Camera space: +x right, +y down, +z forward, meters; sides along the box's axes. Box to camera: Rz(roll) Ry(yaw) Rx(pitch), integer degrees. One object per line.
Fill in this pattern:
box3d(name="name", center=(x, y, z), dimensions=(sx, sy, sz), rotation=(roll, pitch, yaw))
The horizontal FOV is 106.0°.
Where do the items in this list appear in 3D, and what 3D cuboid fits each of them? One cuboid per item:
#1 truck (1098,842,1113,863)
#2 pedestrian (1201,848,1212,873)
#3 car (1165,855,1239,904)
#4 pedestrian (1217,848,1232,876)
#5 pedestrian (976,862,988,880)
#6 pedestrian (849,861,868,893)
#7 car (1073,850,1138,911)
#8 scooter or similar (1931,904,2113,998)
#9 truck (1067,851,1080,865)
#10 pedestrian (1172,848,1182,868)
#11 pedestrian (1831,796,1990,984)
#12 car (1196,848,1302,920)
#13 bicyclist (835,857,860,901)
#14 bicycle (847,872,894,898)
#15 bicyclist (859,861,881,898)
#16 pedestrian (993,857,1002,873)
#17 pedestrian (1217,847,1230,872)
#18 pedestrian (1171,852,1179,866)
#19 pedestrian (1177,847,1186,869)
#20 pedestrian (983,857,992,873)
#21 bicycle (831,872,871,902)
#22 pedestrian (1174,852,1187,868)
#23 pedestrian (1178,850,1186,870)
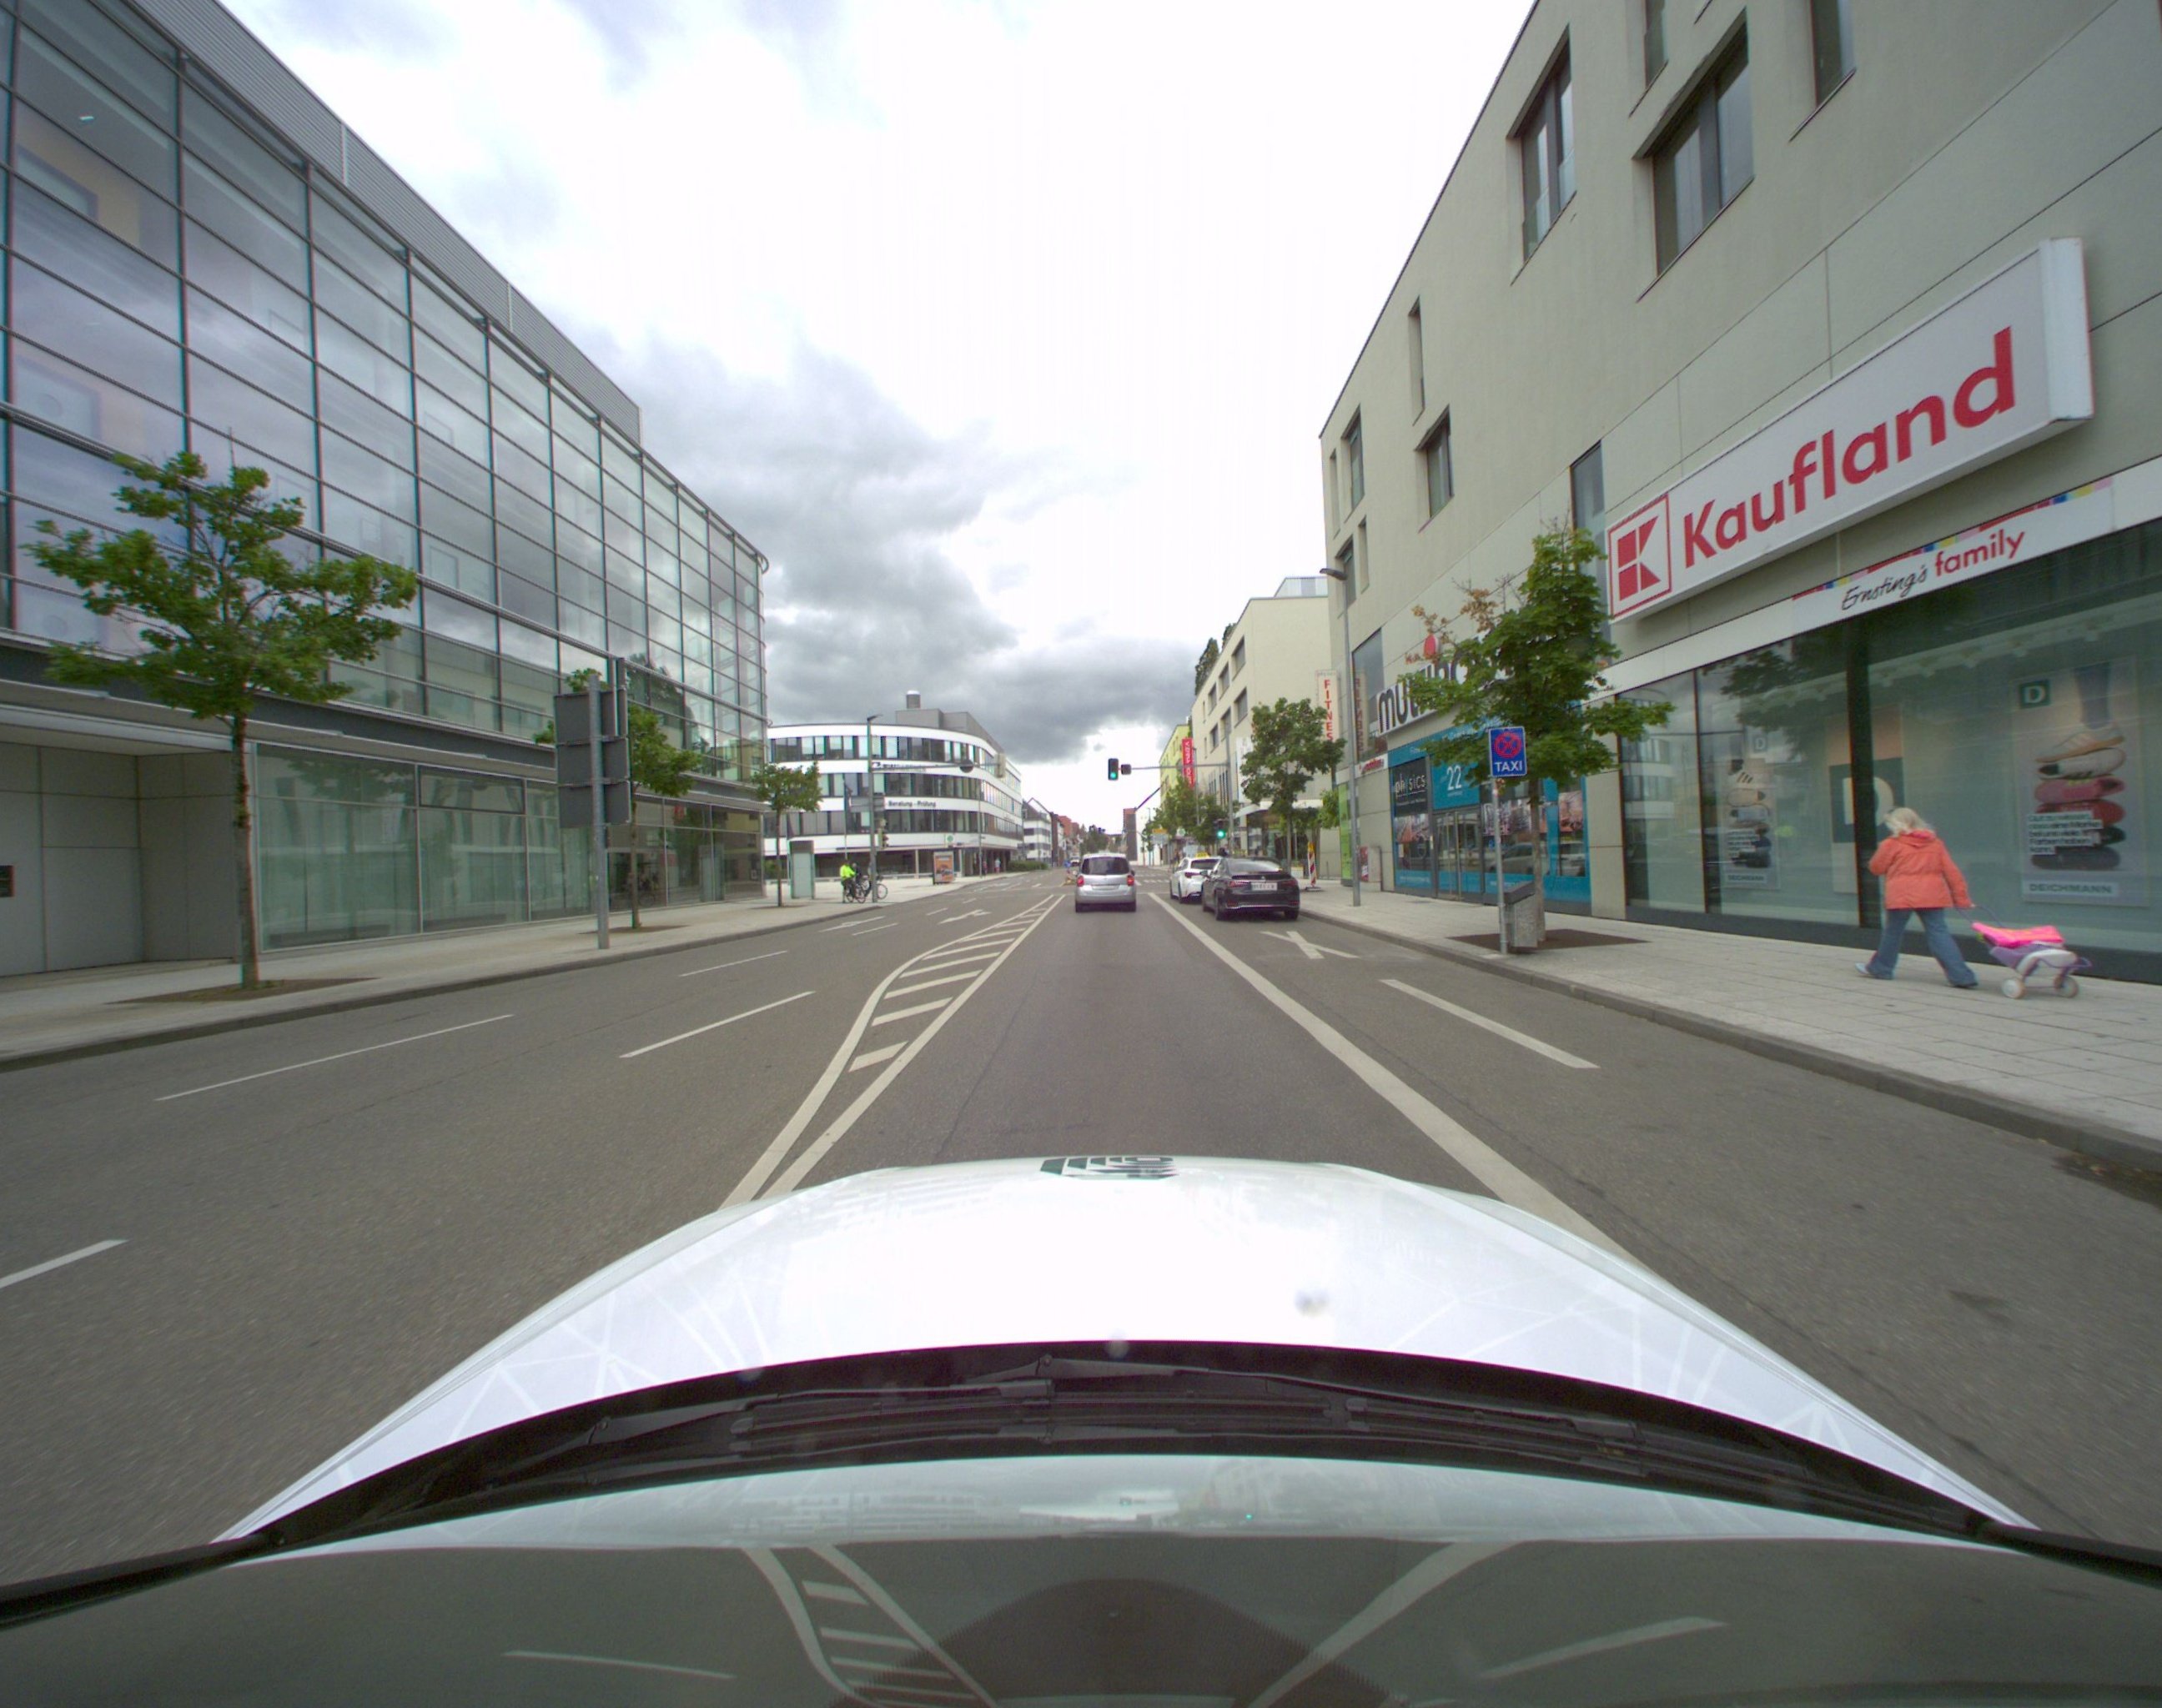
box3d(name="truck", center=(4.774, -0.326, 156.709), dimensions=(2.585, 3.857, 6.852), rotation=(-2, 0, 2))
box3d(name="pedestrian", center=(8.585, 0.452, 55.618), dimensions=(0.652, 1.669, 0.614), rotation=(-2, -1, 2))
box3d(name="car", center=(3.795, 0.764, 26.243), dimensions=(1.776, 1.425, 4.515), rotation=(-1, 0, 1))
box3d(name="pedestrian", center=(8.409, 0.488, 47.851), dimensions=(0.738, 1.608, 0.715), rotation=(-2, -1, 2))
box3d(name="pedestrian", center=(-8.745, 1.472, 72.079), dimensions=(0.826, 1.567, 0.814), rotation=(-1, -1, 7))
box3d(name="pedestrian", center=(-13.824, 1.421, 50.614), dimensions=(0.907, 1.945, 0.742), rotation=(0, -1, -37))
box3d(name="car", center=(0.692, 0.704, 23.289), dimensions=(1.700, 1.579, 4.001), rotation=(0, 0, 2))
box3d(name="scooter or similar", center=(7.543, 0.761, 6.563), dimensions=(0.549, 0.634, 0.768), rotation=(-4, 0, 1))
box3d(name="truck", center=(-1.625, 0.953, 178.758), dimensions=(2.426, 2.953, 8.367), rotation=(-2, -1, 2))
box3d(name="pedestrian", center=(8.097, 0.340, 68.692), dimensions=(0.717, 1.683, 0.734), rotation=(-3, -1, 7))
box3d(name="pedestrian", center=(7.397, 0.304, 7.298), dimensions=(0.586, 1.567, 0.732), rotation=(-4, 0, 1))
box3d(name="car", center=(3.933, 0.661, 19.831), dimensions=(1.730, 1.542, 4.792), rotation=(0, 0, 2))
box3d(name="bicyclist", center=(-9.756, 1.038, 34.037), dimensions=(0.752, 1.800, 0.764), rotation=(1, -1, -44))
box3d(name="bicycle", center=(-9.586, 1.385, 37.081), dimensions=(1.984, 1.130, 0.641), rotation=(0, -1, 16))
box3d(name="bicyclist", center=(-9.612, 1.139, 37.111), dimensions=(0.775, 1.649, 0.641), rotation=(0, -1, 17))
box3d(name="pedestrian", center=(-8.448, 1.108, 82.266), dimensions=(0.727, 1.674, 0.932), rotation=(-1, -1, 3))
box3d(name="pedestrian", center=(9.776, 0.366, 55.879), dimensions=(0.741, 1.669, 0.614), rotation=(-2, -1, 2))
box3d(name="pedestrian", center=(10.731, 0.566, 93.060), dimensions=(0.693, 1.593, 0.603), rotation=(-3, -1, 0))
box3d(name="pedestrian", center=(8.324, 0.309, 67.412), dimensions=(0.576, 1.769, 0.858), rotation=(-3, -1, 7))
box3d(name="pedestrian", center=(-9.581, 1.149, 83.454), dimensions=(0.727, 1.613, 0.932), rotation=(-1, -1, 3))
box3d(name="bicycle", center=(-9.660, 1.358, 34.129), dimensions=(0.752, 1.206, 2.006), rotation=(1, -1, -44))
box3d(name="pedestrian", center=(8.115, 0.507, 66.307), dimensions=(0.940, 1.259, 0.732), rotation=(-3, -1, -1))
box3d(name="pedestrian", center=(8.059, 0.462, 65.001), dimensions=(0.576, 1.591, 0.734), rotation=(-3, -1, 7))
